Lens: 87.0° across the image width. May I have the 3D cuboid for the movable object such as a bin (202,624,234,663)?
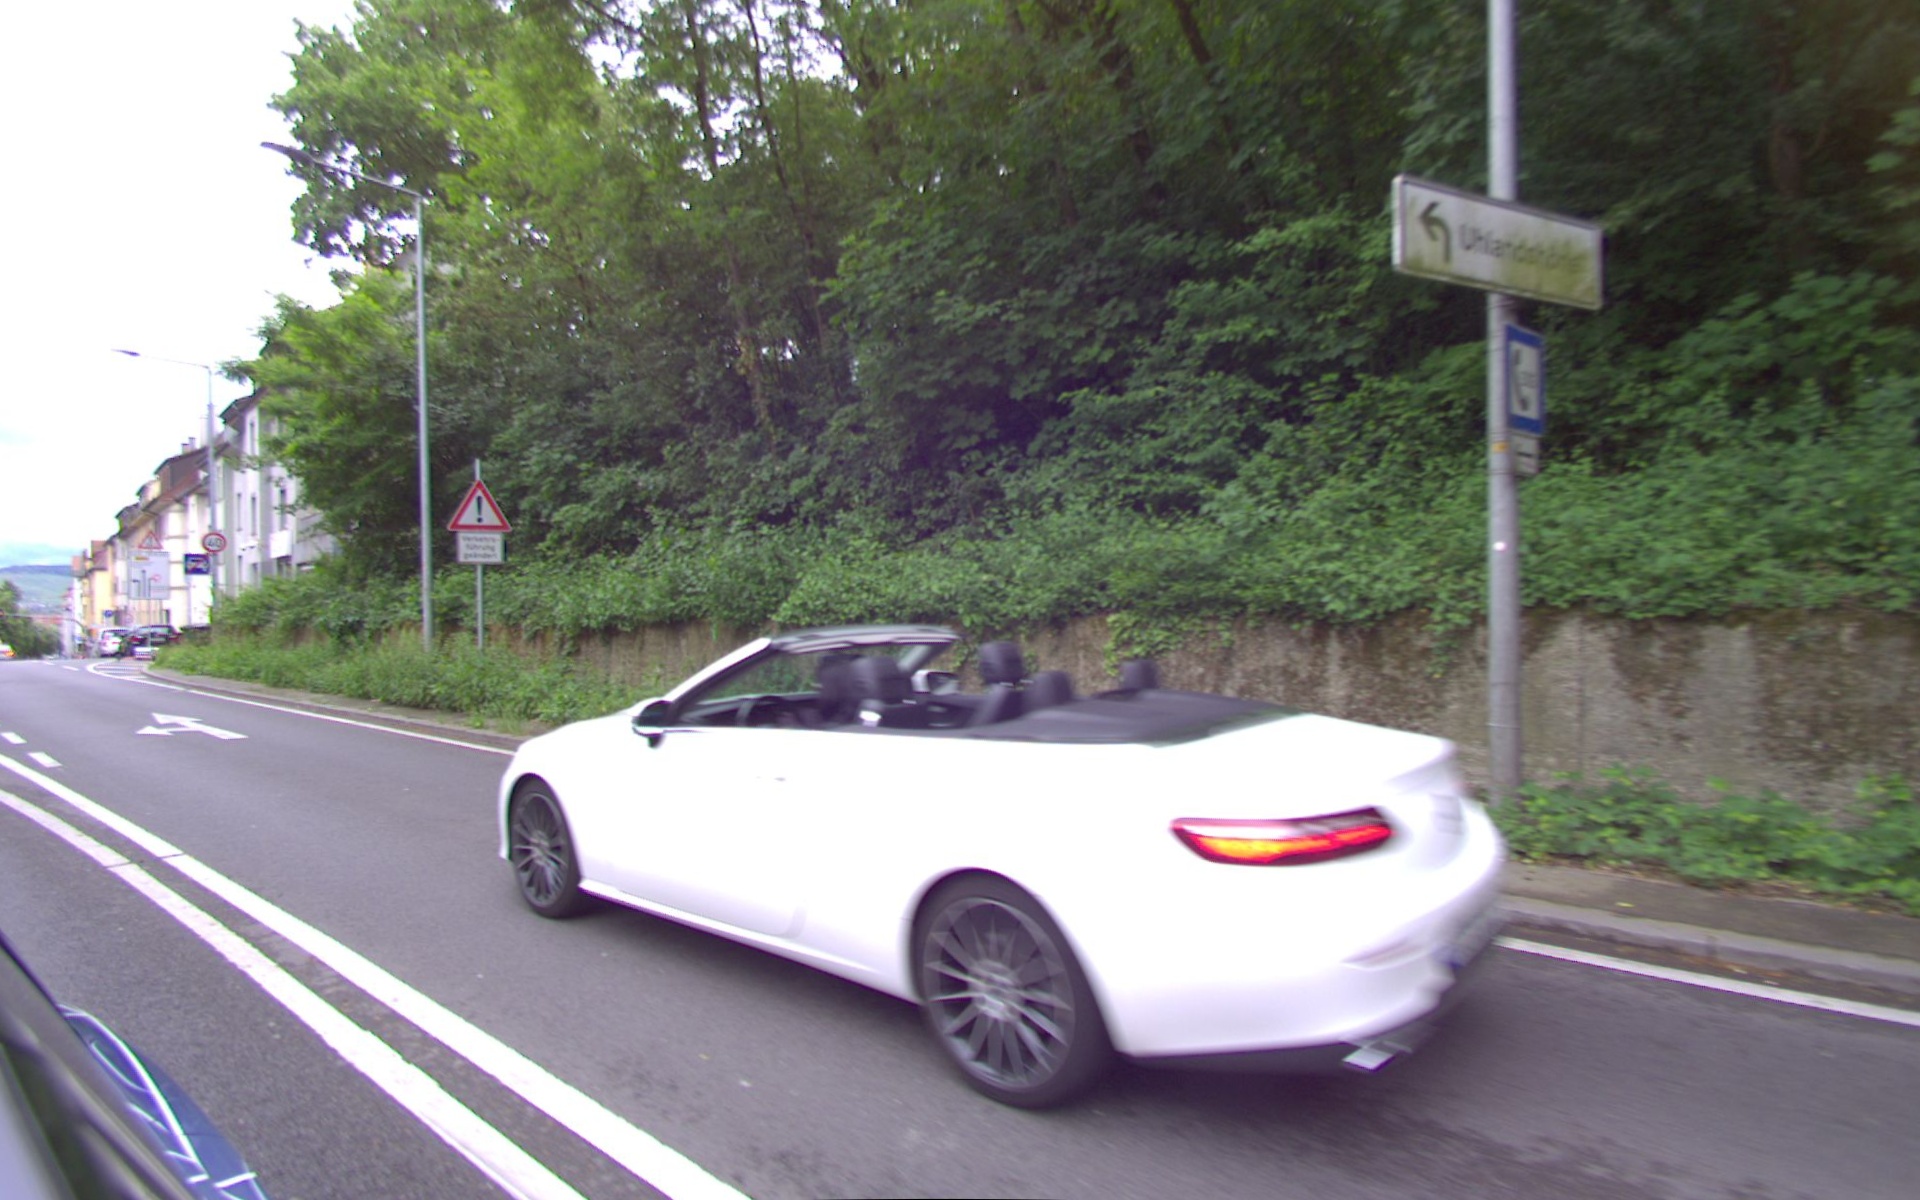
[{"bbox_3d":[-20.787,1.217,28.348,0.429,1.032,0.551,-3,1,32],"label":"movable object such as a bin"}]

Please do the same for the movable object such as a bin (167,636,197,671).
[{"bbox_3d":[-22.885,1.564,29.763,0.443,0.974,0.512,-3,1,32],"label":"movable object such as a bin"}]

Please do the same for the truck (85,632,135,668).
[{"bbox_3d":[-51.072,3.027,60.746,1.970,1.935,5.351,0,-3,-44],"label":"truck"}]

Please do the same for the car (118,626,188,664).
[{"bbox_3d":[-33.543,1.880,42.003,1.969,1.411,4.523,-1,-3,-42],"label":"car"}]

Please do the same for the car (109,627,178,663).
[{"bbox_3d":[-37.752,2.087,46.742,4.212,1.434,1.971,-5,-3,44],"label":"car"}]

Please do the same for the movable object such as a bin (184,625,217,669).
[{"bbox_3d":[-21.826,1.354,29.068,0.429,1.194,0.576,-3,1,32],"label":"movable object such as a bin"}]

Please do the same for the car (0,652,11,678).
[{"bbox_3d":[-66.337,4.467,69.132,4.935,1.711,1.850,-2,-1,42],"label":"car"}]

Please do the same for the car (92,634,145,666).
[{"bbox_3d":[-47.099,2.825,56.600,1.970,1.564,4.385,-1,-3,-44],"label":"car"}]

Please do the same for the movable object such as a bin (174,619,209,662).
[{"bbox_3d":[-22.311,1.177,29.374,0.490,1.194,0.600,-3,1,32],"label":"movable object such as a bin"}]

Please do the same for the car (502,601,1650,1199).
[{"bbox_3d":[0.021,0.741,4.170,4.455,1.381,1.848,-2,-1,42],"label":"car"}]

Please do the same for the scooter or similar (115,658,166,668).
[{"bbox_3d":[-28.783,2.205,35.560,1.095,0.290,1.115,-2,-2,32],"label":"scooter or similar"}]

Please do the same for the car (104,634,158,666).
[{"bbox_3d":[-43.512,2.634,53.065,1.969,1.485,4.162,-1,-3,-42],"label":"car"}]
